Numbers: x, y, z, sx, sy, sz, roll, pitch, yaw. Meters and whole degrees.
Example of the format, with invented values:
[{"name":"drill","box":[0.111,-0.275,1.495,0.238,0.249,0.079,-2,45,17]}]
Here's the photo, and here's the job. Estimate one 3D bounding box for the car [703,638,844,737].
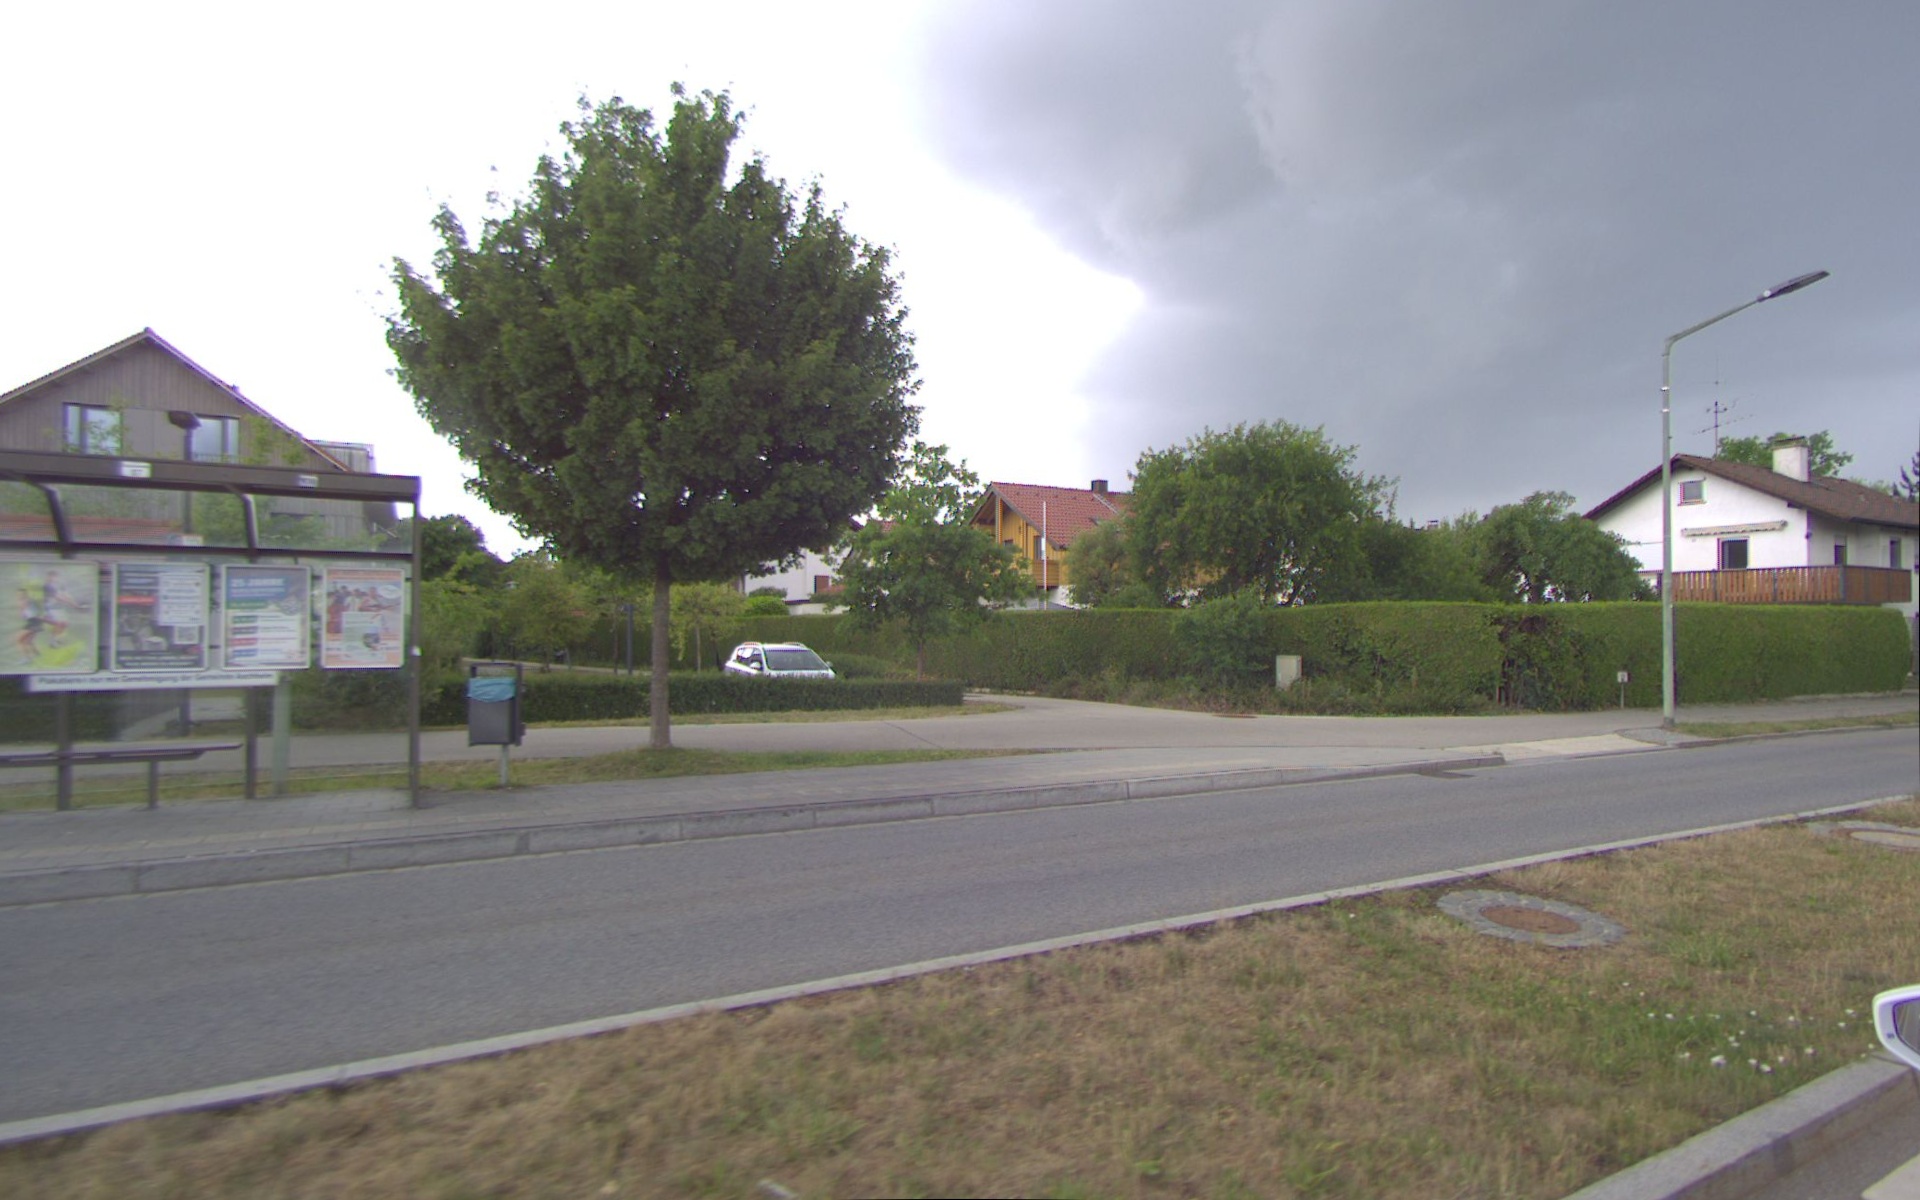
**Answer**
[{"name":"car","box":[-4.468,1.951,23.609,1.978,2.040,3.966,1,-2,-31]}]
